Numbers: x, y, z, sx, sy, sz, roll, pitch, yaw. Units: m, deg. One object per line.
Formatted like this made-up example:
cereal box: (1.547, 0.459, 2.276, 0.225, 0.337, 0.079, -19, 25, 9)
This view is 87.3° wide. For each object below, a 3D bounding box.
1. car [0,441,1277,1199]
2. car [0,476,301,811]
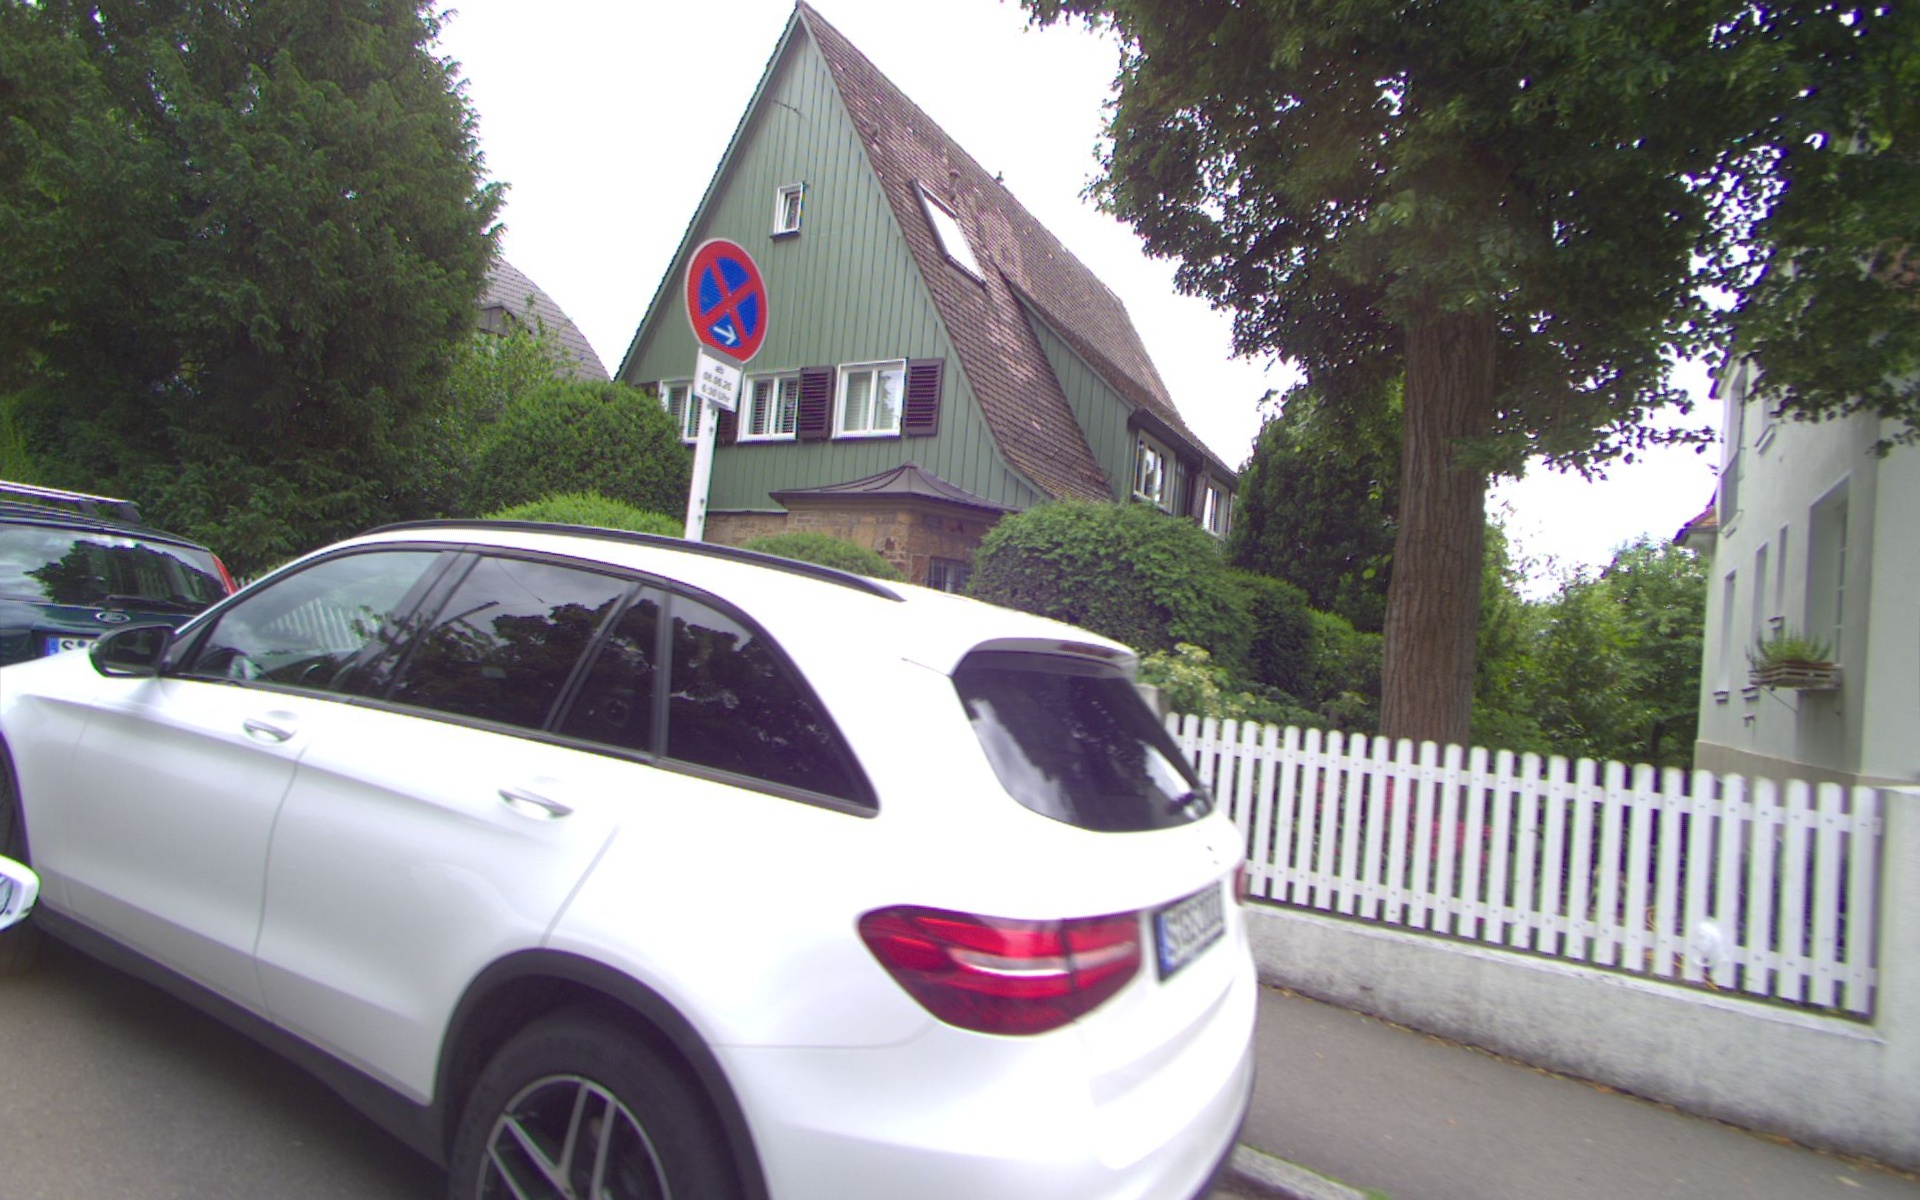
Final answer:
car: (-1.534, 0.555, 3.266, 4.496, 1.624, 1.763, 7, -2, 28)
car: (-6.162, 0.035, 6.178, 4.236, 1.589, 1.702, 7, -1, 30)
